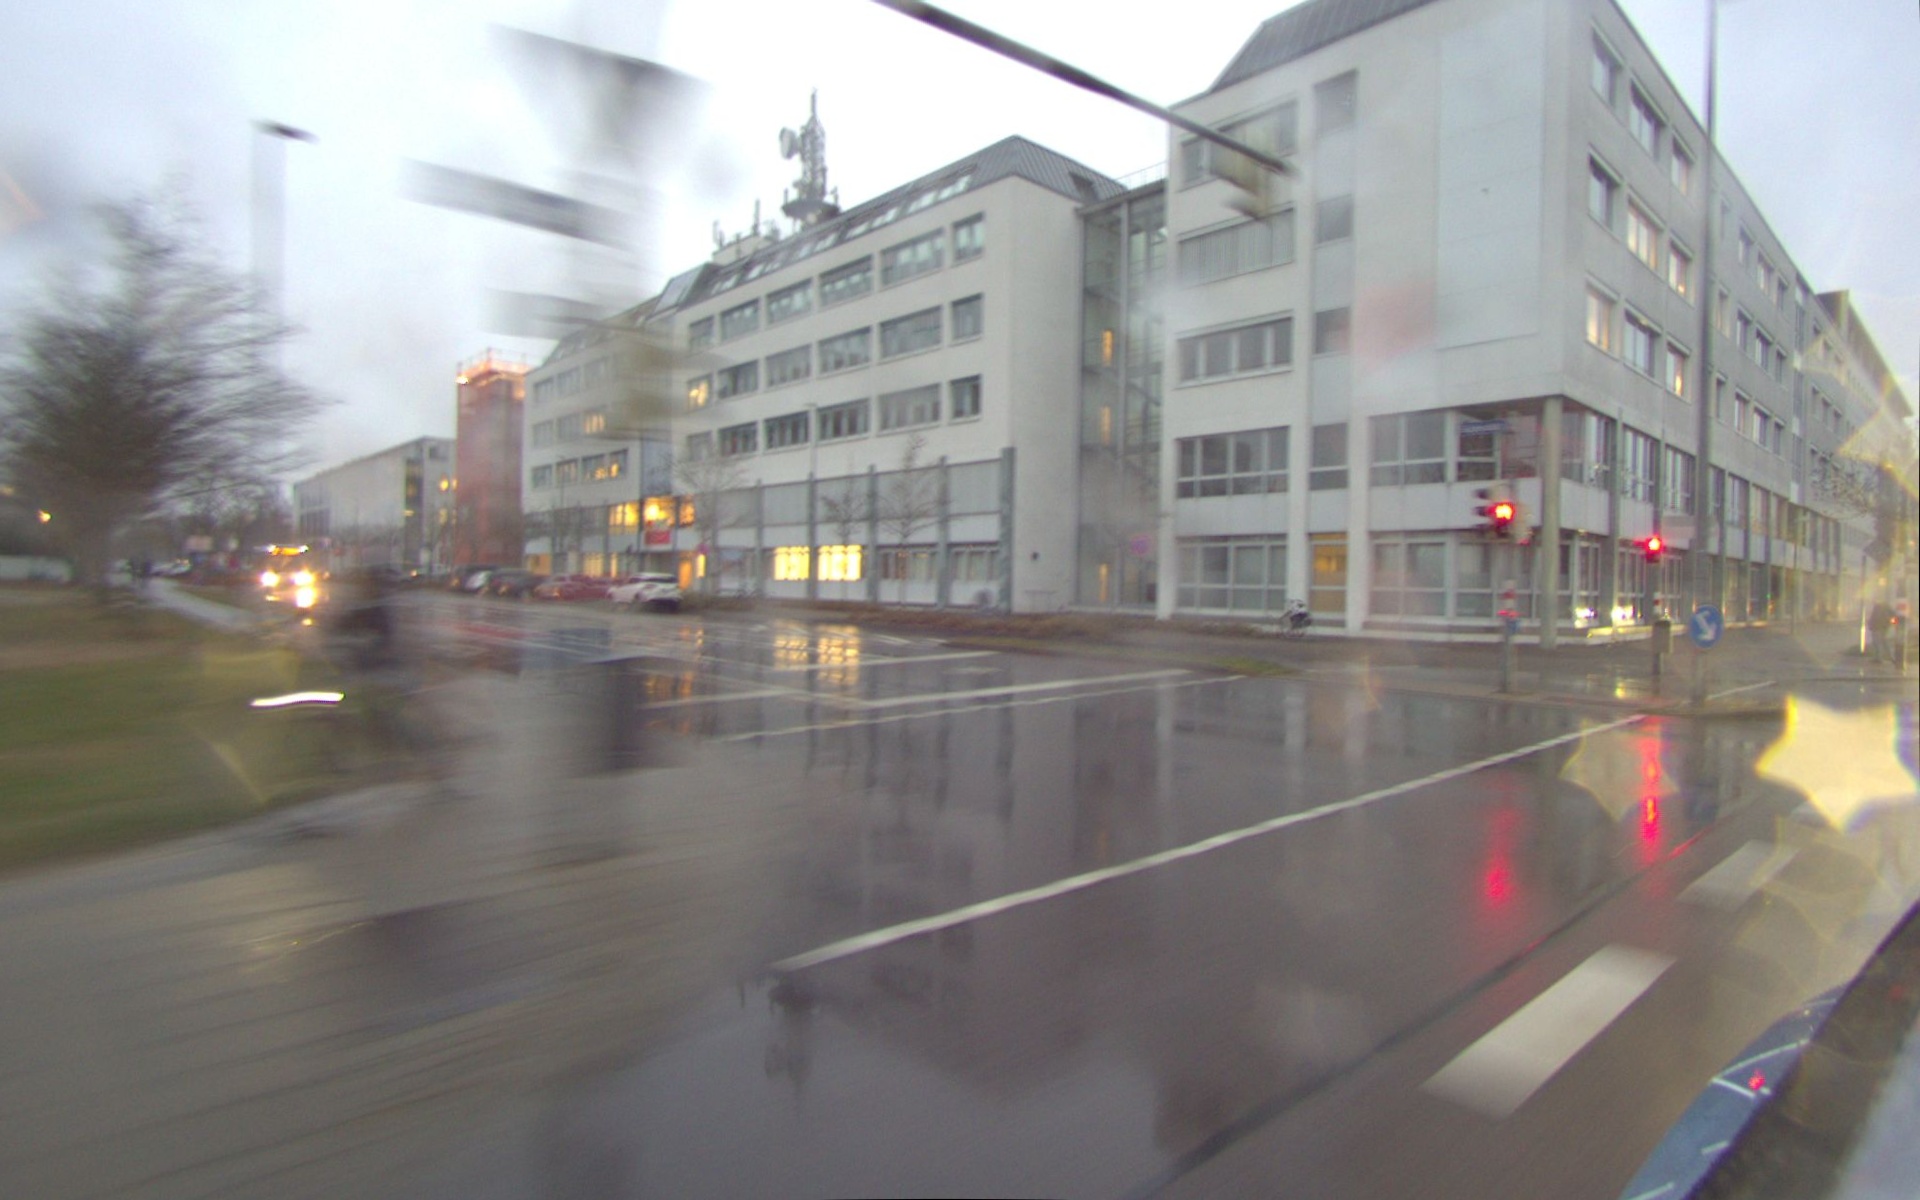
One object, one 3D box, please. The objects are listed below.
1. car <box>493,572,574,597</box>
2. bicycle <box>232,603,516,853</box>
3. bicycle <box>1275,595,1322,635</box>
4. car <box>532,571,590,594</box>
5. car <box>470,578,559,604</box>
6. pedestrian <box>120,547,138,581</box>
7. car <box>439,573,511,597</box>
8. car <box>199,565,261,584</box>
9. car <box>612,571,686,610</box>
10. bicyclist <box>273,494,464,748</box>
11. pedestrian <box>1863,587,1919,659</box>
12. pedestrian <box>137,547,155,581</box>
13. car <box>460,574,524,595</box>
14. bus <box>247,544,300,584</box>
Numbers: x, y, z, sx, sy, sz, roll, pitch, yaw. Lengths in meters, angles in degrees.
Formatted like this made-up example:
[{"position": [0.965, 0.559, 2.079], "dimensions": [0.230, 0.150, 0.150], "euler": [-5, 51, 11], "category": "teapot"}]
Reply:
[{"position": [-25.225, -0.922, 59.956], "dimensions": [4.064, 1.439, 1.769], "euler": [-1, 1, -42], "category": "car"}, {"position": [-3.708, 0.675, 6.322], "dimensions": [1.964, 1.231, 1.024], "euler": [3, 0, 44], "category": "bicycle"}, {"position": [9.915, 0.420, 29.617], "dimensions": [1.844, 1.118, 0.471], "euler": [0, 2, -43], "category": "bicycle"}, {"position": [-21.838, -0.960, 55.387], "dimensions": [3.709, 1.199, 1.516], "euler": [-1, 1, 43], "category": "car"}, {"position": [-27.533, -0.574, 62.598], "dimensions": [4.729, 1.575, 1.770], "euler": [-1, 0, -40], "category": "car"}, {"position": [-50.788, -2.173, 61.830], "dimensions": [0.787, 2.039, 0.641], "euler": [-1, 0, -37], "category": "pedestrian"}, {"position": [-32.427, -0.999, 67.693], "dimensions": [4.054, 1.548, 1.603], "euler": [-1, 0, -43], "category": "car"}, {"position": [-57.319, -2.007, 79.505], "dimensions": [3.927, 1.498, 1.834], "euler": [-1, 0, -38], "category": "car"}, {"position": [-13.872, -0.433, 45.086], "dimensions": [1.966, 1.657, 3.273], "euler": [-1, 0, -41], "category": "car"}, {"position": [-3.707, 0.111, 6.342], "dimensions": [0.910, 1.448, 0.752], "euler": [-1, 0, -40], "category": "bicyclist"}, {"position": [24.403, 0.585, 26.401], "dimensions": [0.843, 1.771, 0.801], "euler": [3, 3, -15], "category": "pedestrian"}, {"position": [-49.864, -2.191, 62.006], "dimensions": [0.801, 2.039, 0.750], "euler": [-1, 0, -42], "category": "pedestrian"}, {"position": [-30.590, -1.002, 66.183], "dimensions": [3.438, 1.330, 1.702], "euler": [-1, 1, -42], "category": "car"}, {"position": [-51.600, -2.650, 75.970], "dimensions": [2.258, 2.746, 8.132], "euler": [-1, 0, -41], "category": "bus"}]
